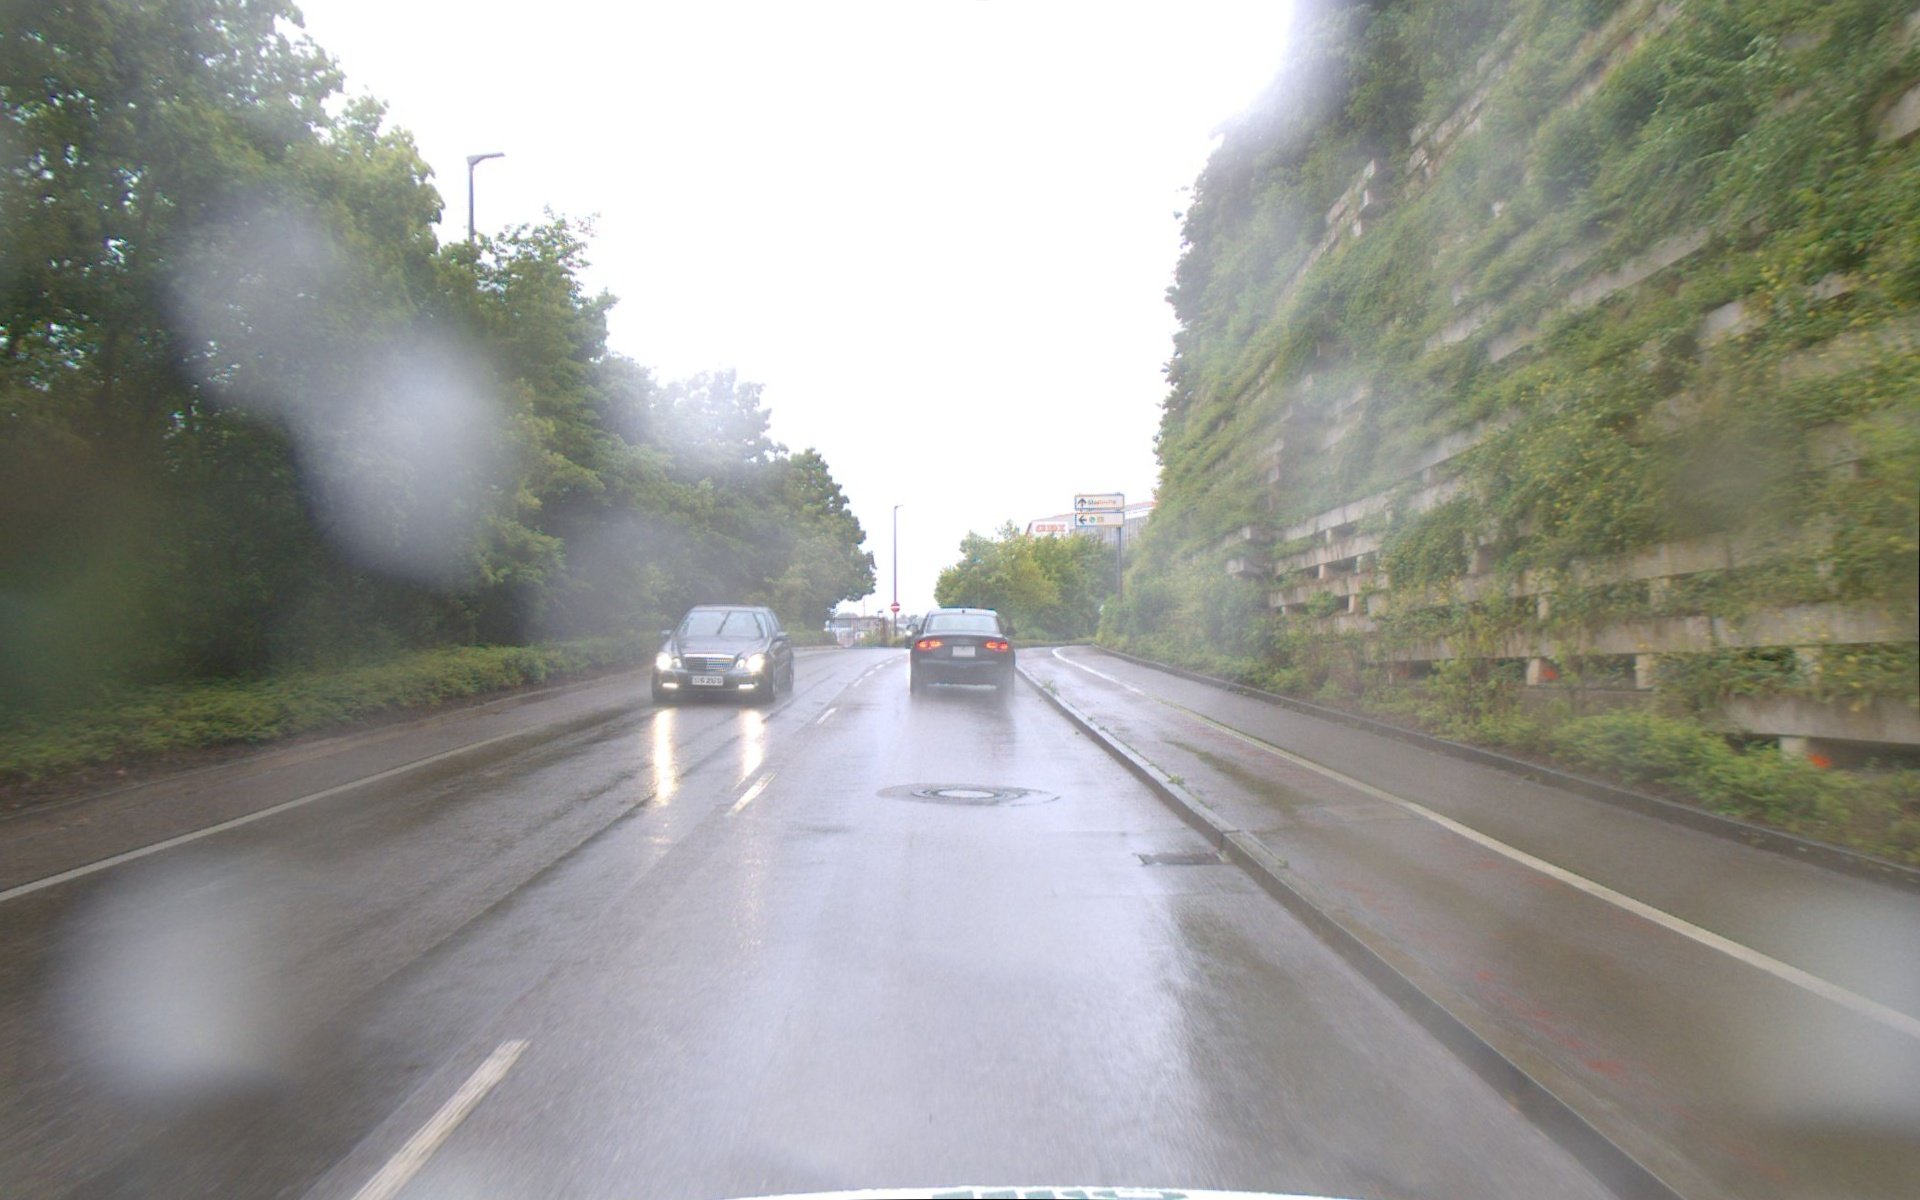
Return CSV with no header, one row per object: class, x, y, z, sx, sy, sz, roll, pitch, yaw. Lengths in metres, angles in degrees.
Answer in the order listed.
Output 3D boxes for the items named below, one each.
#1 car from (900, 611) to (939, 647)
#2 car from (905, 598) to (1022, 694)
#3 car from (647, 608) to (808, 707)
car,-2.019,1.440,82.787,1.792,1.736,4.333,0,0,1
car,0.123,0.732,28.409,1.853,1.518,4.208,0,0,2
car,-3.528,0.838,25.854,1.953,1.388,4.250,0,0,-1
